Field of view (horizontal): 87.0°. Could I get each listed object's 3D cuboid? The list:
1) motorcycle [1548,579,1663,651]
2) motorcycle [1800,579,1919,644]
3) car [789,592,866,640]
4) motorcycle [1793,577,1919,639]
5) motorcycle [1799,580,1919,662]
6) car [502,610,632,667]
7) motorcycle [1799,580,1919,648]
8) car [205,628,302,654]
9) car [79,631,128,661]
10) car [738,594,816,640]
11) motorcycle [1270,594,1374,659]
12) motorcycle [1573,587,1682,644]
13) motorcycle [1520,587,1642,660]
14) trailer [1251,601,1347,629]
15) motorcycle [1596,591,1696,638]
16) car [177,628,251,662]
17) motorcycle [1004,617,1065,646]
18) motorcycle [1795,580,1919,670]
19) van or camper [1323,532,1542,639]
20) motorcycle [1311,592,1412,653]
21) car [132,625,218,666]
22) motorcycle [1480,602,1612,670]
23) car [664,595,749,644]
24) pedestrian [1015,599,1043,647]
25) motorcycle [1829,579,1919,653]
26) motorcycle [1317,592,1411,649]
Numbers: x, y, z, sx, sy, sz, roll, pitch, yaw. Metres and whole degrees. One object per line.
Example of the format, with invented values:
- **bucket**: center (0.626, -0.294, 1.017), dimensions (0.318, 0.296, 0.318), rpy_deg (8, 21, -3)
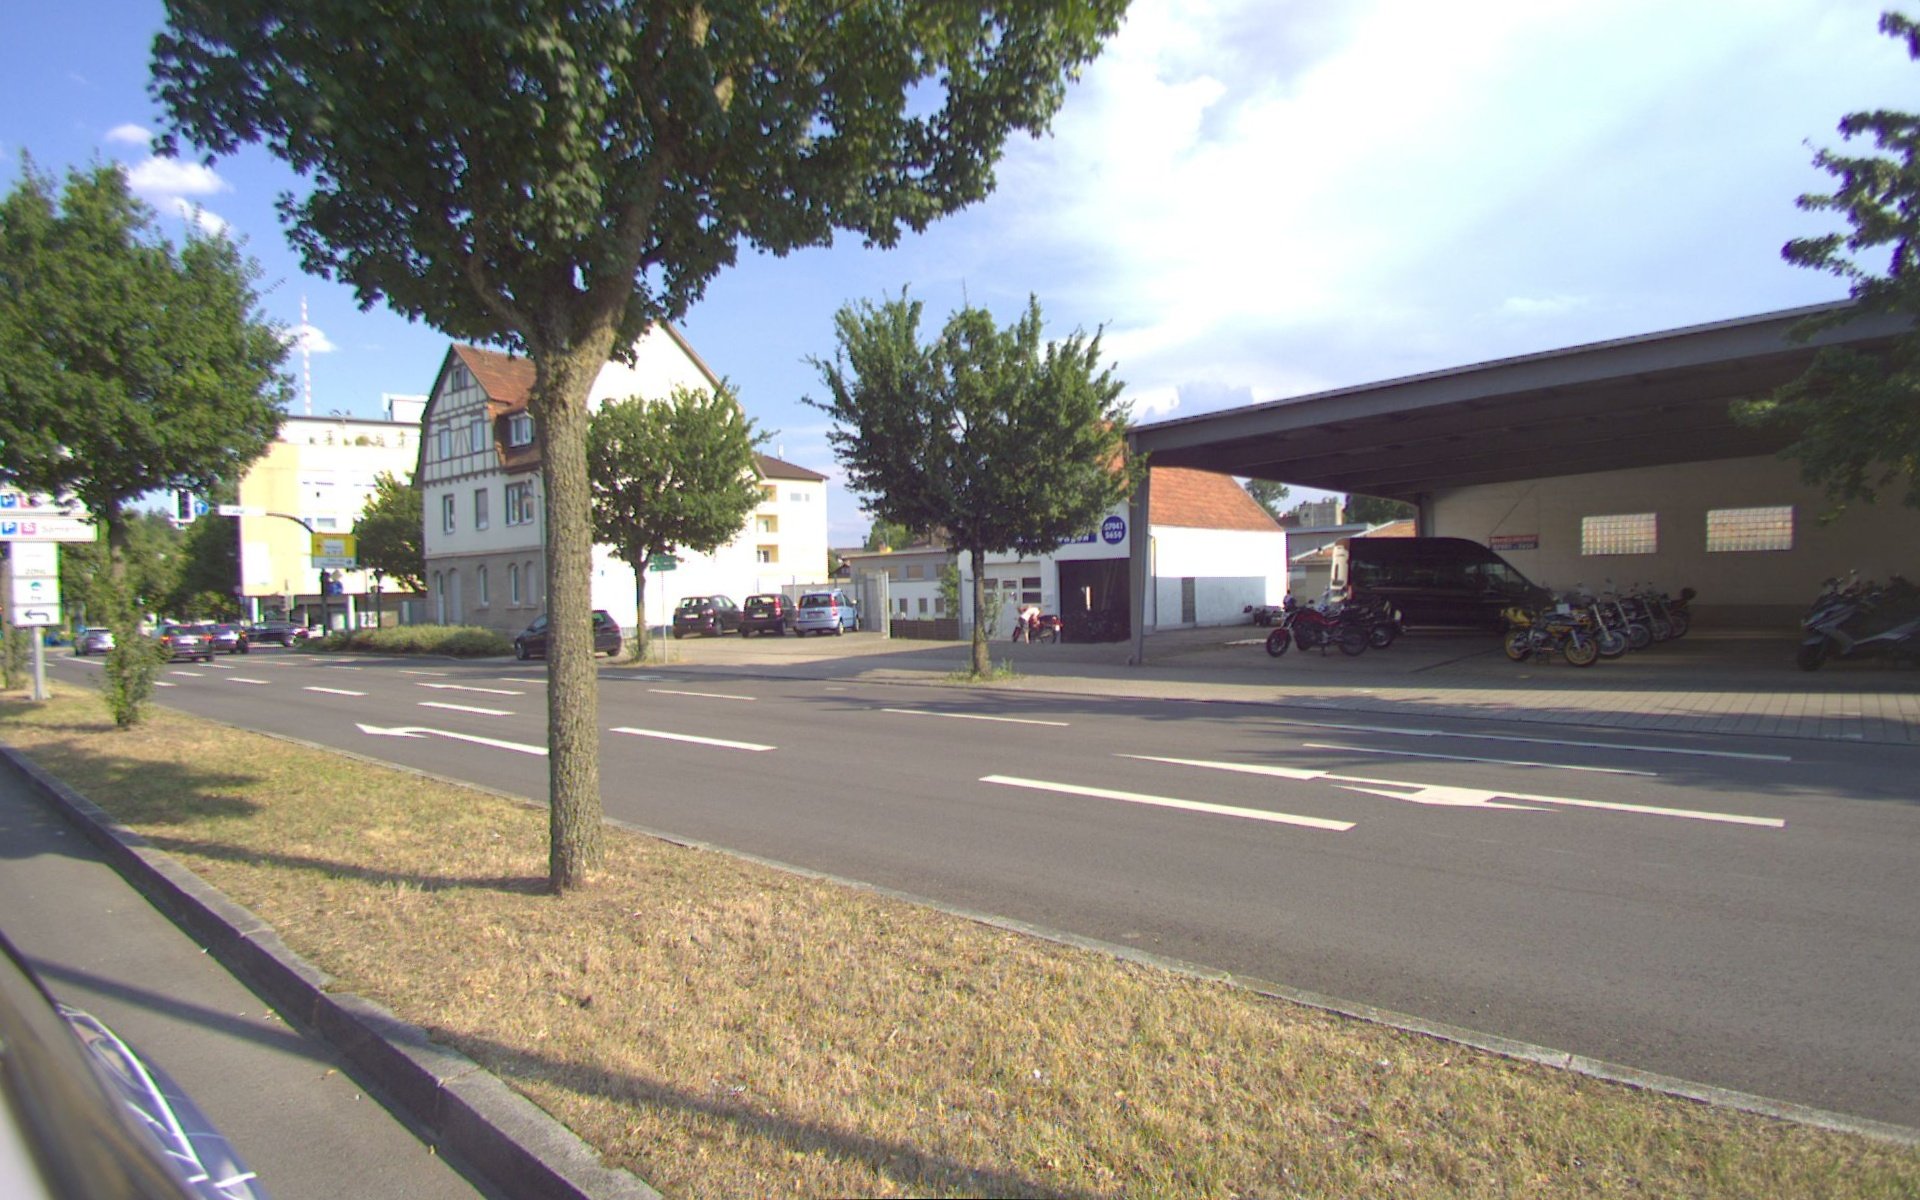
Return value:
- **motorcycle**: center (13.793, 0.313, 21.696), dimensions (0.584, 1.459, 2.161), rpy_deg (-1, 0, -19)
- **motorcycle**: center (18.955, 0.240, 21.172), dimensions (2.068, 1.317, 0.561), rpy_deg (-1, 0, 12)
- **car**: center (-4.607, 0.542, 35.735), dimensions (1.746, 1.564, 3.992), rpy_deg (-1, 0, 7)
- **motorcycle**: center (19.909, 0.184, 22.527), dimensions (2.068, 1.317, 0.561), rpy_deg (-1, 0, 12)
- **motorcycle**: center (15.263, 0.348, 16.738), dimensions (2.068, 1.317, 0.561), rpy_deg (-1, 0, 12)
- **car**: center (-11.743, 1.115, 30.158), dimensions (4.193, 1.454, 1.816), rpy_deg (-1, 3, 41)
- **motorcycle**: center (17.965, 0.276, 19.995), dimensions (2.068, 1.317, 0.581), rpy_deg (-1, 0, 12)
- **car**: center (-42.008, 2.398, 60.241), dimensions (4.594, 1.364, 1.770), rpy_deg (-1, 0, -41)
- **car**: center (-42.486, 2.247, 50.154), dimensions (1.758, 1.359, 4.484), rpy_deg (-1, 0, -41)
- **car**: center (-6.683, 0.596, 37.418), dimensions (1.746, 1.564, 3.992), rpy_deg (-1, 0, 7)
- **motorcycle**: center (7.551, 0.548, 21.188), dimensions (1.991, 1.321, 0.665), rpy_deg (-1, 0, 18)
- **motorcycle**: center (15.434, 0.350, 23.481), dimensions (0.636, 1.268, 2.161), rpy_deg (-1, 0, -19)
- **motorcycle**: center (12.112, 0.445, 19.843), dimensions (0.553, 1.340, 2.161), rpy_deg (-1, 0, -19)
- **trailer**: center (12.511, 0.539, 37.254), dimensions (2.449, 0.831, 3.152), rpy_deg (-1, 2, 38)
- **motorcycle**: center (17.202, 0.363, 25.436), dimensions (0.553, 1.131, 2.161), rpy_deg (-1, 0, -19)
- **car**: center (-34.733, 2.039, 47.072), dimensions (4.642, 1.432, 1.824), rpy_deg (-1, 0, 41)
- **motorcycle**: center (2.427, 1.018, 33.384), dimensions (2.212, 0.927, 0.500), rpy_deg (-1, 0, 45)
- **motorcycle**: center (13.883, 0.368, 15.131), dimensions (2.093, 1.317, 0.561), rpy_deg (-1, 0, 12)
- **van or camper**: center (12.747, -0.360, 27.619), dimensions (4.980, 2.700, 1.995), rpy_deg (-1, 0, 9)
- **motorcycle**: center (9.019, 0.503, 22.771), dimensions (1.982, 1.321, 0.649), rpy_deg (-1, 0, 5)
- **car**: center (-29.085, 1.651, 37.459), dimensions (4.186, 1.397, 1.628), rpy_deg (-1, 0, 40)
- **motorcycle**: center (10.439, 0.612, 18.130), dimensions (0.620, 1.132, 2.161), rpy_deg (-1, 0, -19)
- **car**: center (-9.393, 0.679, 37.786), dimensions (1.747, 1.563, 3.992), rpy_deg (-2, 1, 7)
- **pedestrian**: center (2.221, 0.740, 32.705), dimensions (0.642, 1.535, 0.676), rpy_deg (-1, 0, -21)
- **motorcycle**: center (17.095, 0.281, 18.258), dimensions (2.068, 1.317, 0.621), rpy_deg (-1, 0, 12)
- **motorcycle**: center (9.787, 0.495, 24.551), dimensions (1.982, 1.321, 0.649), rpy_deg (-1, 0, 5)
